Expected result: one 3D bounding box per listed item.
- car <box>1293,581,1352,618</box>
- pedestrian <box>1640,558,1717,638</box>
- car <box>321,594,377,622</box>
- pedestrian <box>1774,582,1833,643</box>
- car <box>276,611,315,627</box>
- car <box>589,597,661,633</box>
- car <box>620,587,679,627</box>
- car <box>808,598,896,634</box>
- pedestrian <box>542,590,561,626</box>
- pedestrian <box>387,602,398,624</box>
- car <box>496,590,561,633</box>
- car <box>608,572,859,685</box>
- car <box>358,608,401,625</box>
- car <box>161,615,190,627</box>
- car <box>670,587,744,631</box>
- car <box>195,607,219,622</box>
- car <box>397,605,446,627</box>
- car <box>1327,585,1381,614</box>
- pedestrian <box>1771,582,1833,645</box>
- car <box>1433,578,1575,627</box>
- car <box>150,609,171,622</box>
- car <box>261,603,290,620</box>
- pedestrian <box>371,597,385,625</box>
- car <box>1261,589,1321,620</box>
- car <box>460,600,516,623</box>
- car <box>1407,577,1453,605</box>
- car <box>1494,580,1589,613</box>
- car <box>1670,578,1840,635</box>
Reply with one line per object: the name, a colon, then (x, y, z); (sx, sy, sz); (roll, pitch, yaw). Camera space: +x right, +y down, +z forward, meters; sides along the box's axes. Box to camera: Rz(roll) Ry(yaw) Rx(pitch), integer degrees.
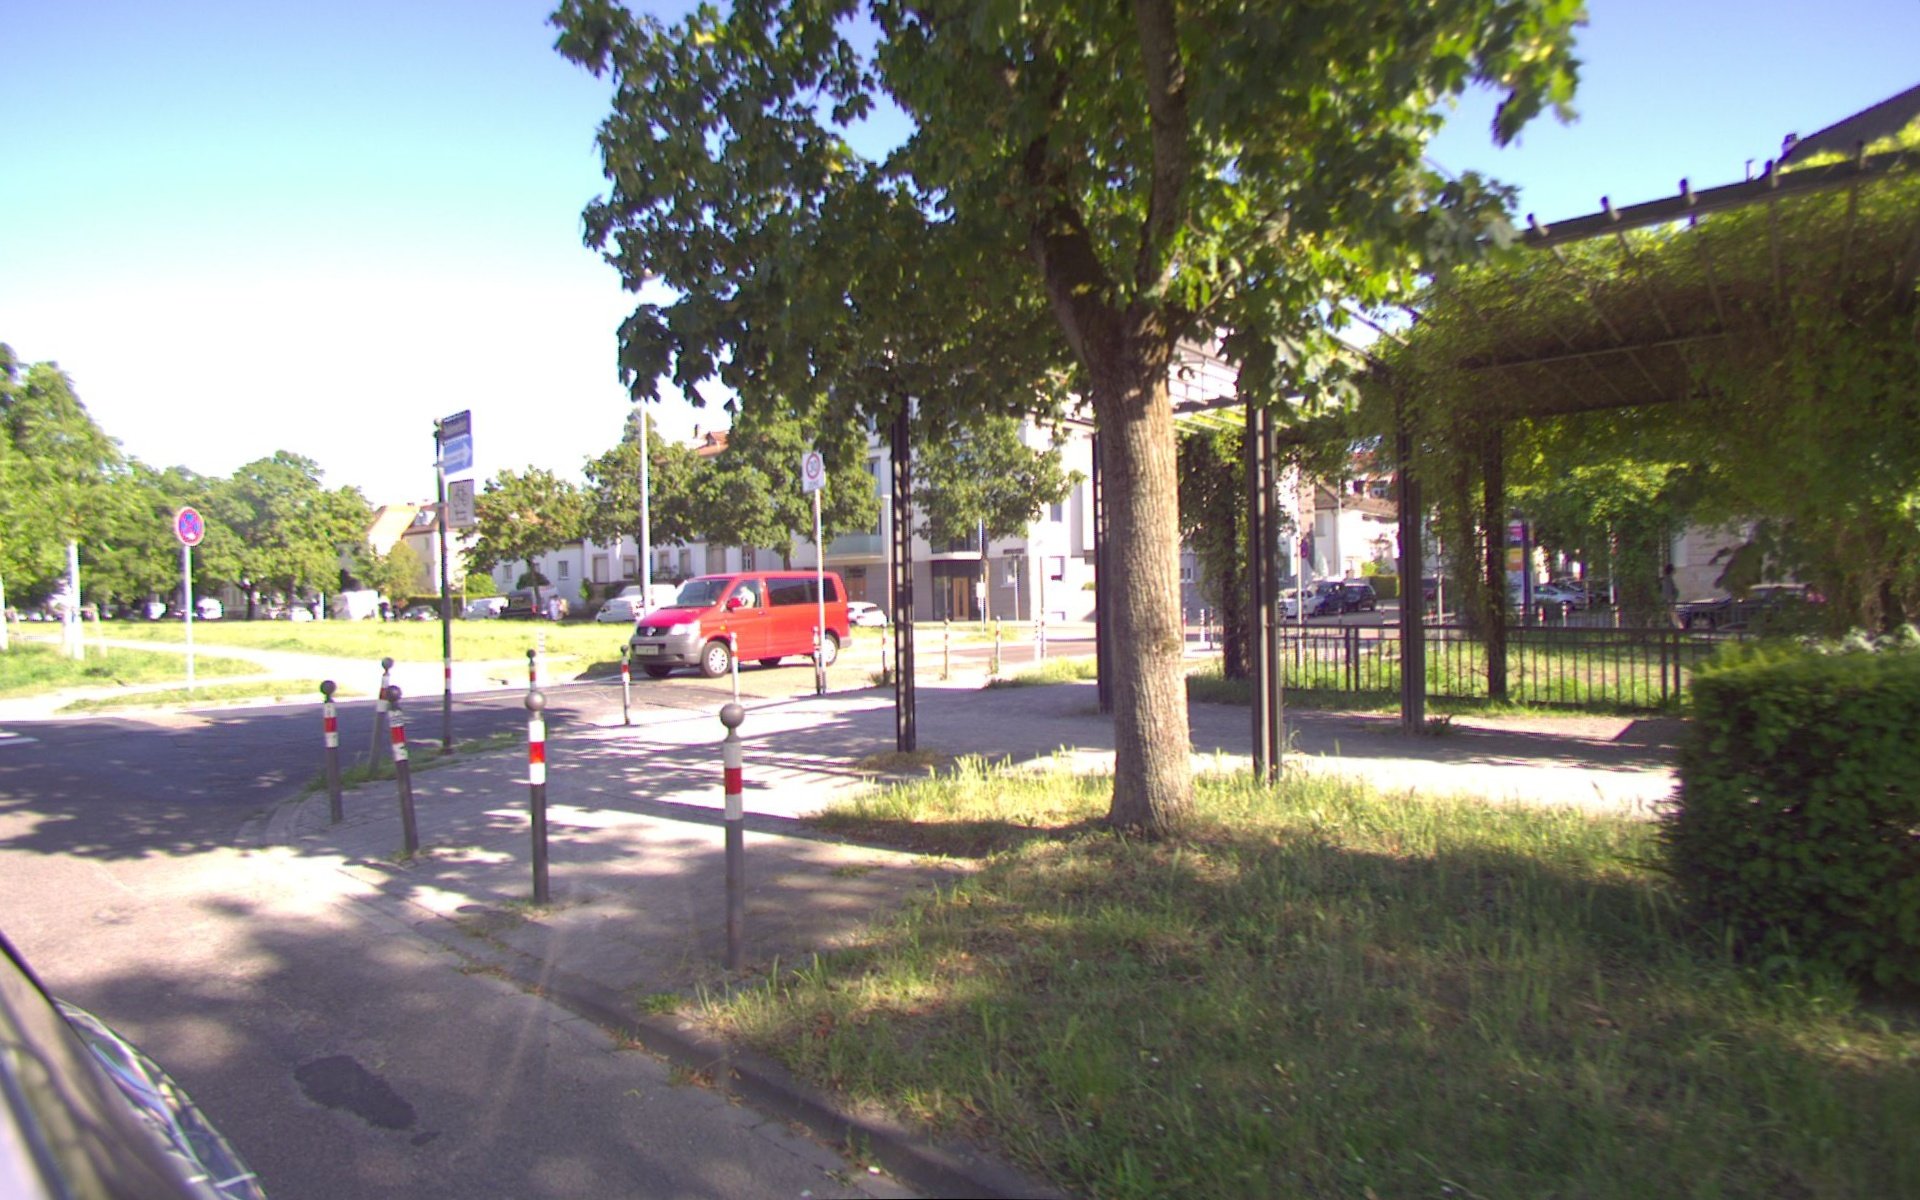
car: (19.629, -0.081, 54.728); (1.665, 1.849, 4.200); (3, 3, 40)
pedestrian: (16.221, -0.041, 22.882); (1.083, 1.687, 0.907); (-5, -1, 21)
car: (-53.122, 0.718, 87.969); (5.917, 2.351, 2.516); (-1, 0, 41)
pedestrian: (16.263, 0.238, 19.517); (0.846, 1.158, 0.591); (-1, 0, 41)
car: (-64.644, 1.877, 98.424); (4.726, 1.477, 2.053); (-1, 0, 41)
car: (-19.783, 0.872, 59.709); (4.420, 1.897, 1.852); (-1, 4, 40)
car: (-21.090, 0.497, 68.739); (3.992, 2.567, 1.996); (-1, 1, 41)
car: (-5.073, 0.747, 47.165); (3.991, 1.443, 1.717); (-1, 4, 40)
pedestrian: (-21.845, 0.433, 54.101); (0.628, 1.891, 0.715); (-1, 0, 39)
pedestrian: (-39.243, 0.881, 69.989); (0.534, 1.516, 0.490); (-1, 0, 40)
car: (-28.692, 0.740, 67.310); (4.286, 2.603, 2.164); (-1, 4, 41)
car: (-4.331, 0.475, 20.101); (1.893, 1.975, 4.827); (-1, 0, 36)
car: (-48.171, 1.375, 83.971); (4.108, 1.354, 1.908); (-1, 0, 41)
car: (-99.248, 2.636, 128.024); (4.726, 1.477, 2.053); (-1, 0, 41)
car: (-13.546, 0.484, 54.130); (3.992, 2.099, 1.761); (-1, 4, 41)
car: (-103.056, 1.978, 138.455); (3.992, 1.859, 1.840); (-1, 0, 41)
car: (-42.179, 1.261, 79.227); (4.286, 1.611, 2.057); (-1, 0, 41)
car: (22.958, -0.063, 58.897); (1.665, 1.553, 4.012); (3, 3, 40)
pedestrian: (15.819, 0.248, 19.013); (0.874, 1.147, 0.591); (-1, 0, 41)
car: (18.516, 0.086, 34.518); (4.008, 1.494, 1.845); (-1, 3, 37)
car: (-124.168, 2.404, 157.186); (3.992, 1.859, 1.840); (-1, 0, 41)
car: (-79.546, 1.350, 117.621); (3.992, 1.859, 1.840); (-1, 0, 41)
pedestrian: (-40.036, 0.755, 69.662); (0.628, 1.891, 0.636); (-1, 0, 39)
car: (16.787, 0.195, 51.204); (1.665, 1.459, 3.639); (3, 3, 40)
car: (-33.625, 0.820, 72.008); (4.286, 1.611, 2.057); (-1, 0, 41)
car: (33.199, -0.688, 71.409); (1.884, 1.885, 4.343); (3, 3, 40)
car: (28.332, -0.167, 49.357); (3.785, 1.455, 1.671); (-2, -1, 38)
car: (23.702, 0.194, 30.341); (3.898, 1.494, 1.845); (-1, 3, 37)
